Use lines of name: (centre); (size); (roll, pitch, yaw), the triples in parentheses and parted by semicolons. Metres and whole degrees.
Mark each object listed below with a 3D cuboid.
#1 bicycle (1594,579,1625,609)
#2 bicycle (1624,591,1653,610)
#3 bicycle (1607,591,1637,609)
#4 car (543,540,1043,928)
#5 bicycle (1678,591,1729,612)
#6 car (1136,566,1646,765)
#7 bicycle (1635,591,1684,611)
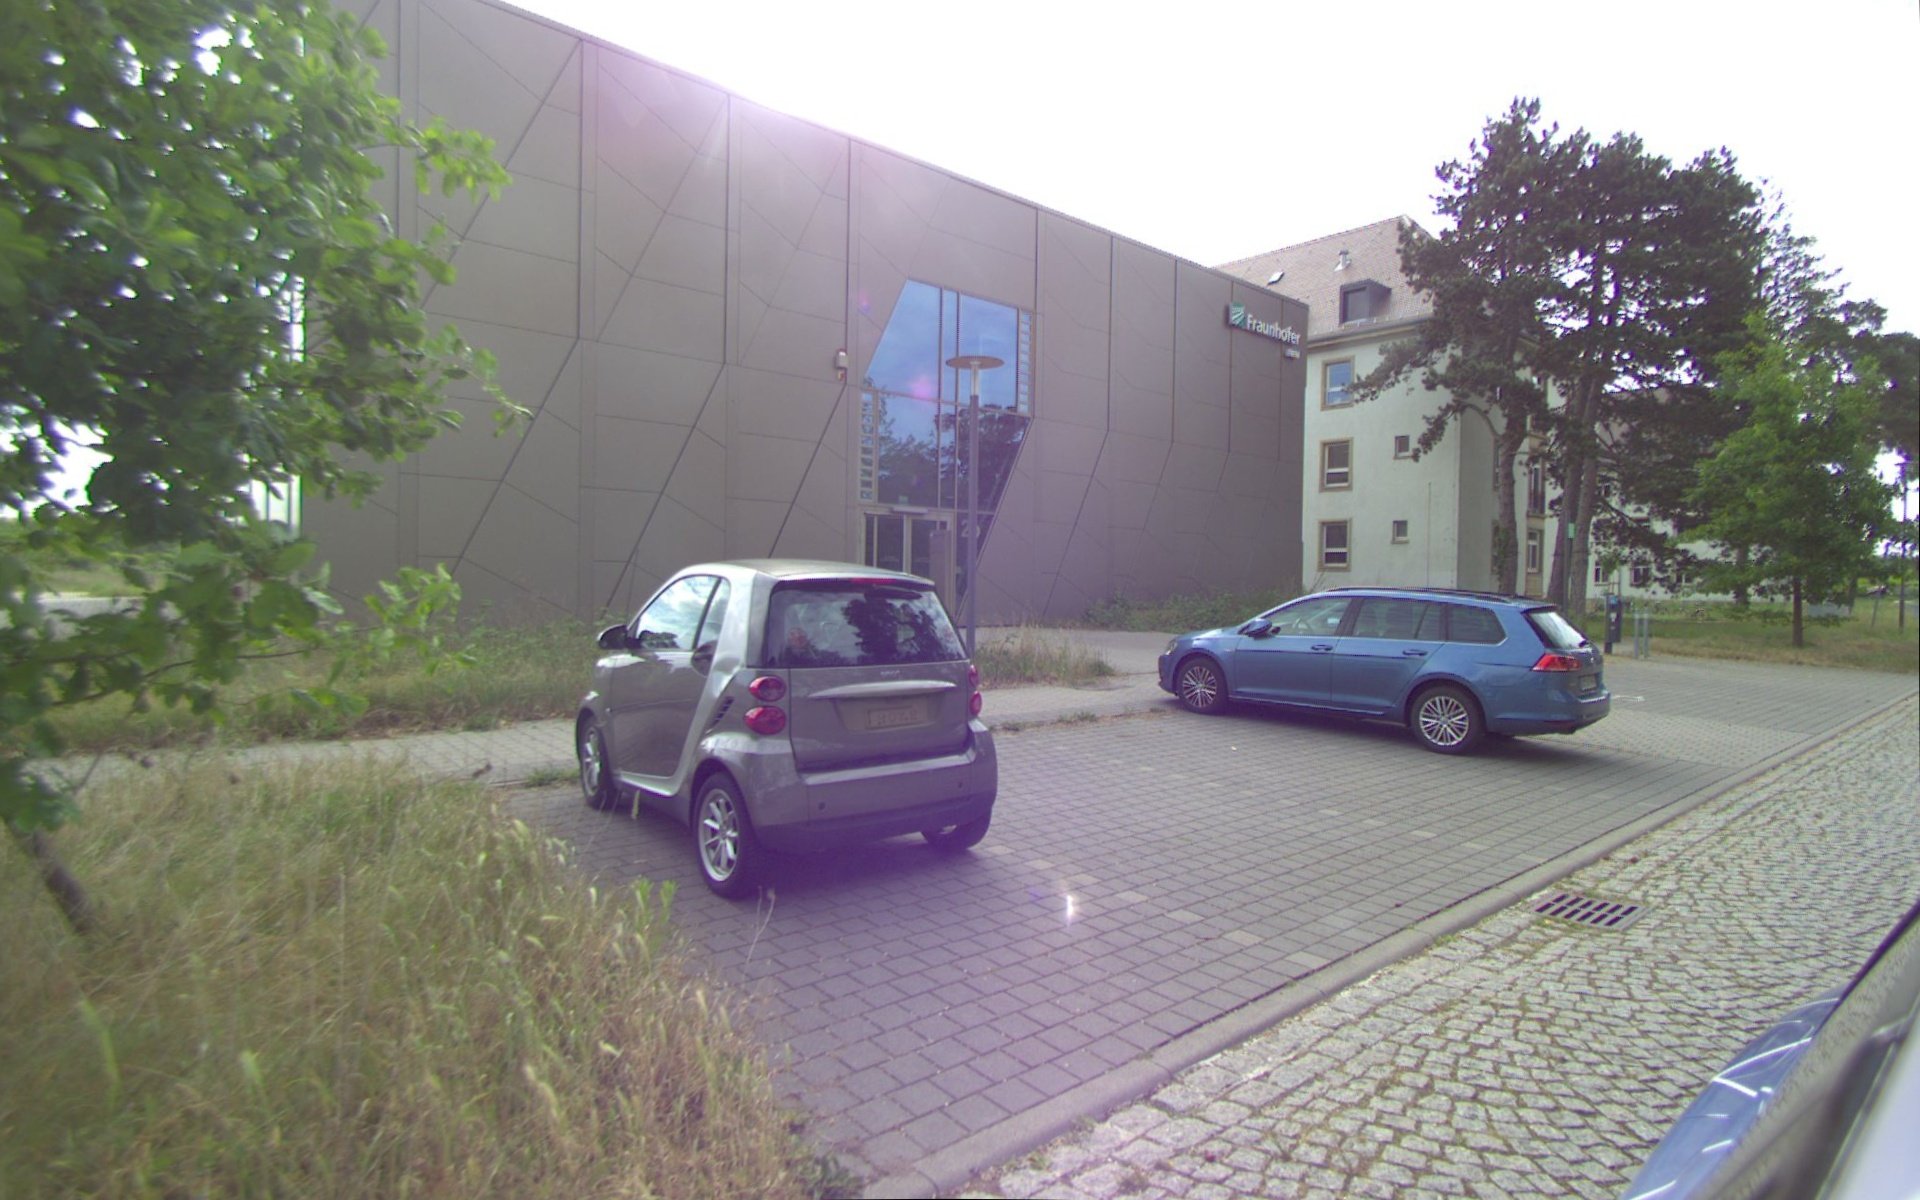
bicycle: (38.878, -0.364, 60.590); (2.159, 1.753, 0.905); (0, 1, -38)
bicycle: (39.657, 0.012, 59.138); (2.126, 1.070, 0.800); (0, 1, -38)
bicycle: (39.117, -0.005, 59.794); (2.159, 1.070, 0.800); (0, 1, -38)
car: (-1.100, 0.510, 5.866); (1.653, 1.601, 2.748); (0, 3, -40)
bicycle: (40.993, 0.066, 55.824); (0.705, 1.108, 2.161); (0, 1, -44)
car: (4.280, 0.483, 10.665); (1.899, 1.467, 4.533); (0, 4, -42)
bicycle: (39.695, 0.052, 57.454); (0.705, 1.070, 2.161); (0, 1, -44)
